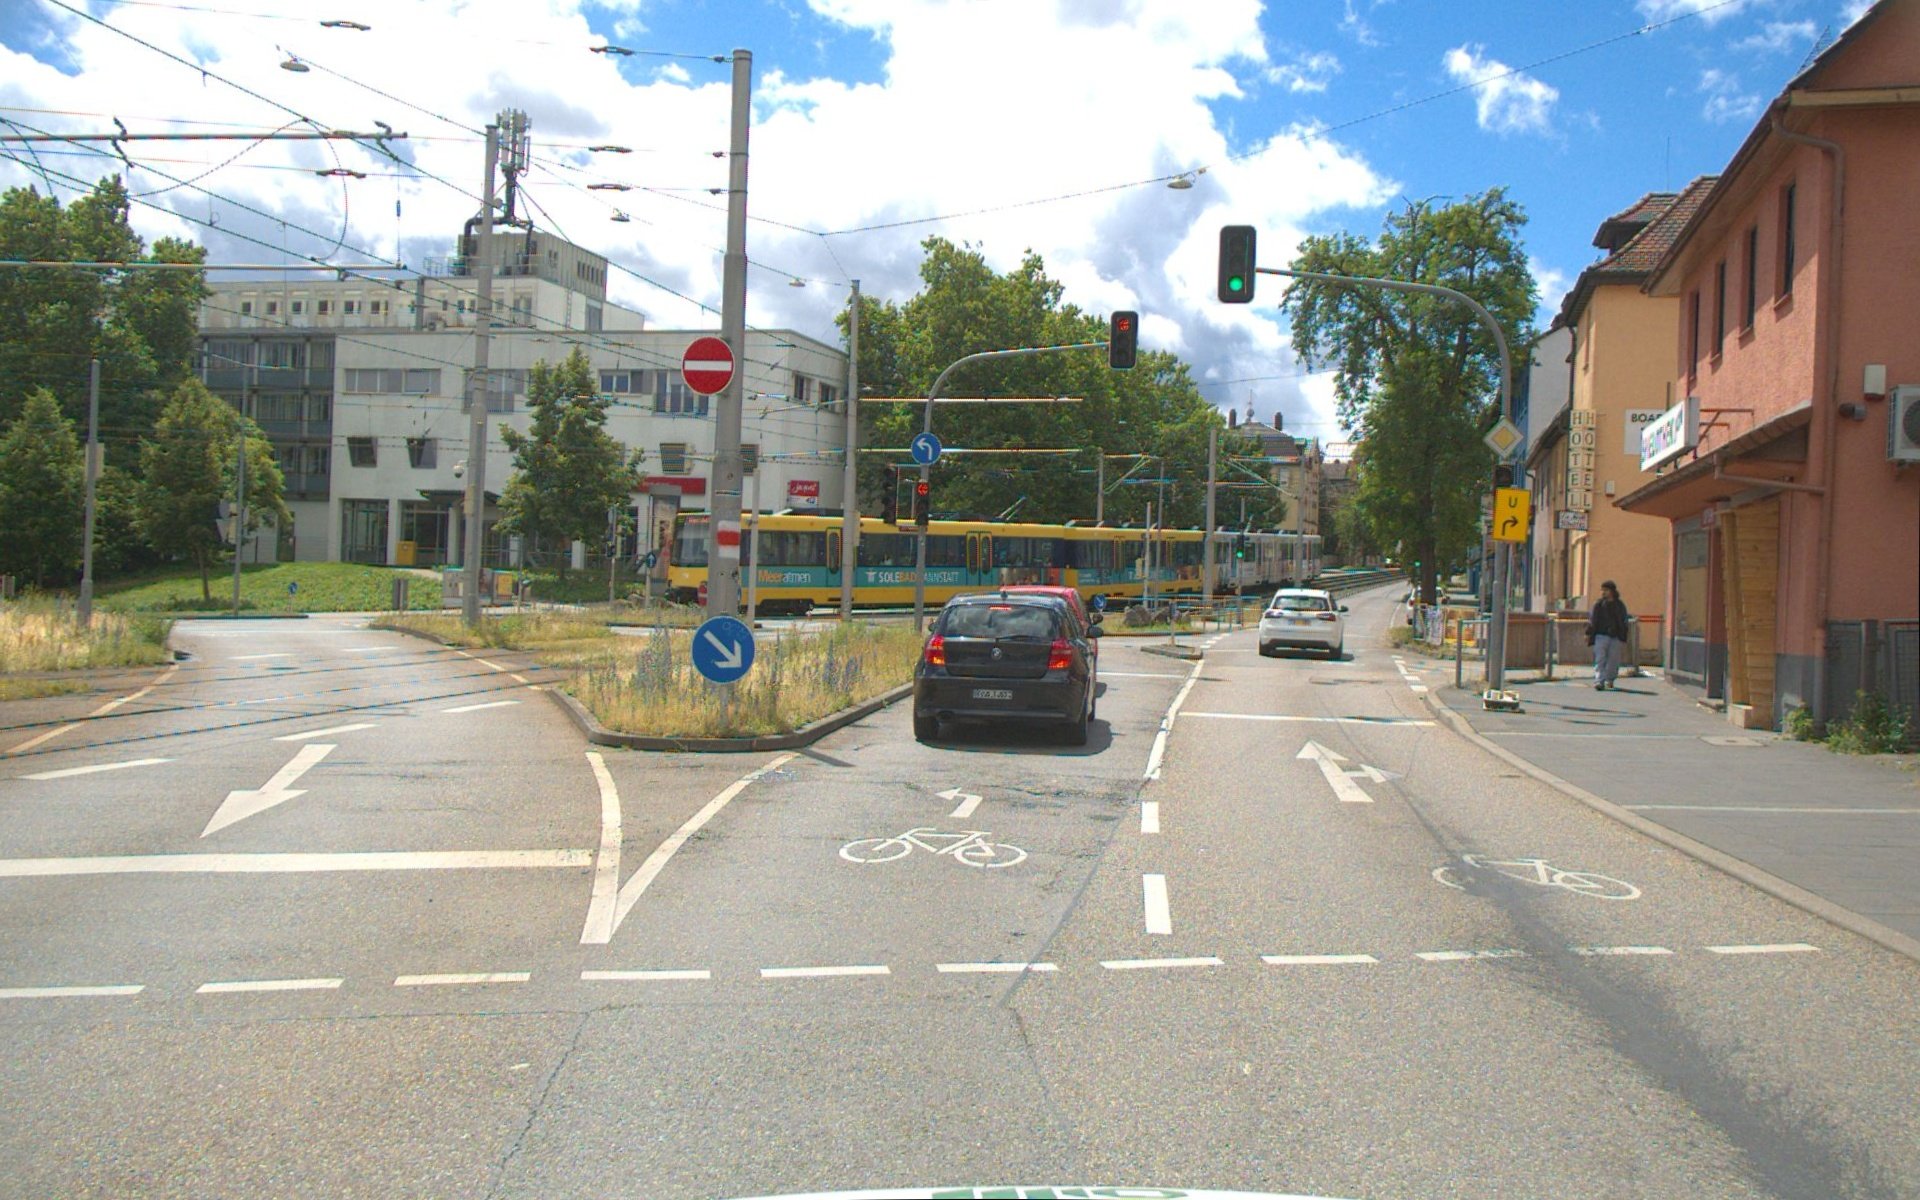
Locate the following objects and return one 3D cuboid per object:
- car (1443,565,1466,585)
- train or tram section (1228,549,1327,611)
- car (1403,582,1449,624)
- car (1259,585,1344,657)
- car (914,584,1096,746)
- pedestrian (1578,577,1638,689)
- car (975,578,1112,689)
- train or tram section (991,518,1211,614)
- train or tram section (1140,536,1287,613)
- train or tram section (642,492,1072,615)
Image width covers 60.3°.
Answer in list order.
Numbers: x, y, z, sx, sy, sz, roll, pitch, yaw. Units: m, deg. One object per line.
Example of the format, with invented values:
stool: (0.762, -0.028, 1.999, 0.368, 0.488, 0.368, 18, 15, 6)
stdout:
car: (48.256, -2.402, 161.256, 2.078, 1.890, 3.740, 1, 1, 17)
train or tram section: (22.122, -1.190, 113.999, 3.671, 3.881, 20.055, 0, 0, 20)
car: (18.884, 0.135, 67.001, 1.749, 1.624, 4.002, 0, 0, 16)
car: (7.740, 0.432, 37.500, 1.776, 1.494, 4.004, 1, 1, 12)
car: (0.442, 0.607, 17.209, 1.666, 1.477, 4.000, 0, 0, 1)
pedestrian: (9.936, 0.489, 25.376, 0.748, 1.671, 0.778, 0, 1, 15)
car: (1.318, 0.466, 24.549, 1.590, 1.499, 4.003, 0, 0, 9)
train or tram section: (7.159, -1.327, 77.416, 3.675, 3.896, 20.134, 0, 0, 25)
train or tram section: (15.049, -1.238, 95.599, 3.673, 3.947, 20.631, 0, 0, 22)
train or tram section: (-3.135, -1.446, 62.107, 3.696, 3.987, 18.773, 0, -1, 43)
